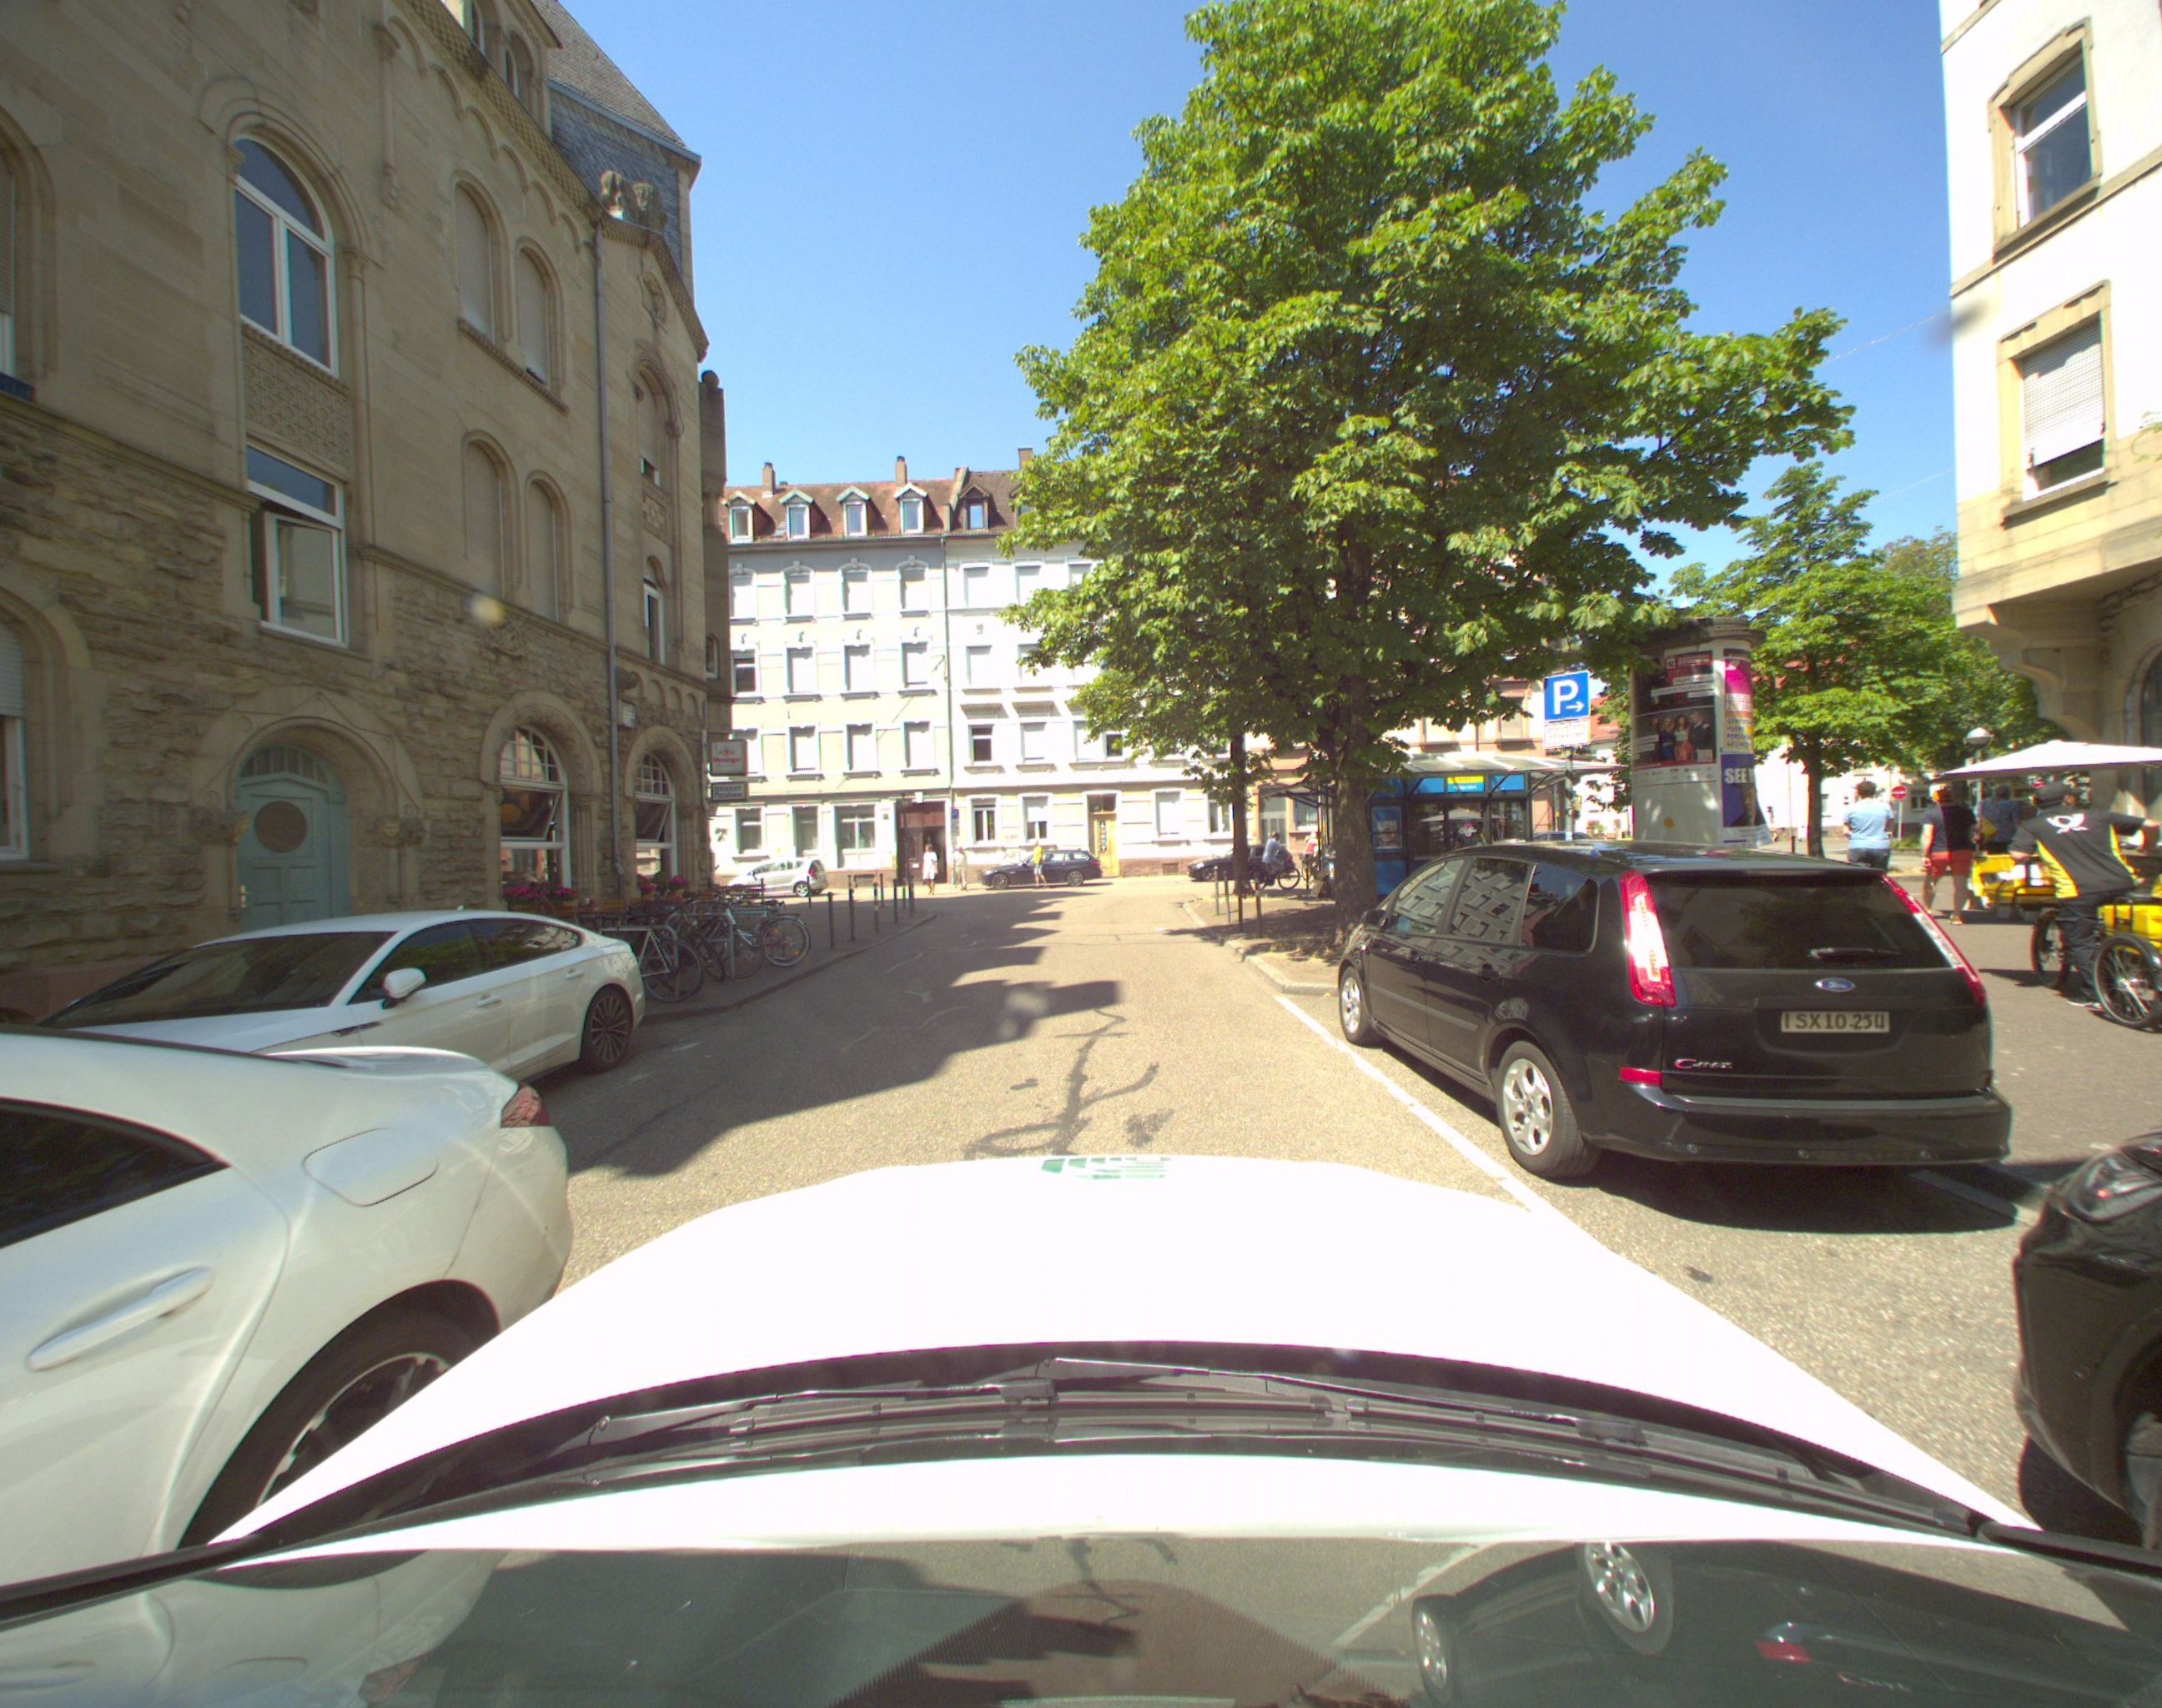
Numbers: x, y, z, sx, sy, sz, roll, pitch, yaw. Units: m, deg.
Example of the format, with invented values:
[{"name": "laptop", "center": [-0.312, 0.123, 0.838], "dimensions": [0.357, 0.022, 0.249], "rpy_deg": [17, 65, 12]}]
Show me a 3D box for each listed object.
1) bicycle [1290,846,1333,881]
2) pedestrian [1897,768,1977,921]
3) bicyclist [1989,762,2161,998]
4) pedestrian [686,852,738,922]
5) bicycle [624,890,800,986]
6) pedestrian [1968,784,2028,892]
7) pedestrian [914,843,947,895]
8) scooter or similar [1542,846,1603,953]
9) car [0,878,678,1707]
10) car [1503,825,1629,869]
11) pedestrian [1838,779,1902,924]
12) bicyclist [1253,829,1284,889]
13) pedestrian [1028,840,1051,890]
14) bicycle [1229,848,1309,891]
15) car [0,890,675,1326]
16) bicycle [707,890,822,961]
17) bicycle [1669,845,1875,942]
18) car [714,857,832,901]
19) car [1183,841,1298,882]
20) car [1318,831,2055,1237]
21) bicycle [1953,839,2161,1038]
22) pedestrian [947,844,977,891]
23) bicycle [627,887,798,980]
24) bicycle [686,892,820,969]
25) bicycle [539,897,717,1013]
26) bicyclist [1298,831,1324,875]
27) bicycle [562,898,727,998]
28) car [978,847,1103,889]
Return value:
[{"name": "bicycle", "center": [8.343, 0.318, 29.396], "dimensions": [0.645, 1.209, 2.457], "rpy_deg": [-1, 0, 37]}, {"name": "pedestrian", "center": [11.066, -0.125, 10.520], "dimensions": [0.887, 1.880, 0.594], "rpy_deg": [-2, 0, -39]}, {"name": "bicyclist", "center": [7.492, 0.187, 6.103], "dimensions": [0.671, 1.647, 0.666], "rpy_deg": [-3, 0, 27]}, {"name": "pedestrian", "center": [-9.250, 0.811, 20.447], "dimensions": [0.854, 1.672, 0.774], "rpy_deg": [-3, 0, 1]}, {"name": "bicycle", "center": [-4.577, 1.039, 10.170], "dimensions": [1.967, 1.129, 0.394], "rpy_deg": [1, 0, -3]}, {"name": "pedestrian", "center": [15.845, -0.275, 14.077], "dimensions": [0.753, 1.794, 0.576], "rpy_deg": [-3, 0, -37]}, {"name": "pedestrian", "center": [-5.578, 0.540, 30.196], "dimensions": [0.844, 1.889, 0.938], "rpy_deg": [-3, 0, 12]}, {"name": "scooter or similar", "center": [5.743, 0.501, 9.492], "dimensions": [0.437, 1.136, 1.193], "rpy_deg": [-3, 0, 38]}, {"name": "car", "center": [-2.267, 0.878, 0.356], "dimensions": [1.835, 1.460, 4.363], "rpy_deg": [-4, 0, 1]}, {"name": "car", "center": [19.425, -0.274, 32.750], "dimensions": [3.974, 1.506, 1.778], "rpy_deg": [-3, 0, 0]}, {"name": "pedestrian", "center": [10.541, -0.032, 10.898], "dimensions": [0.513, 1.868, 0.658], "rpy_deg": [-2, 0, 40]}, {"name": "bicyclist", "center": [5.570, 0.152, 24.243], "dimensions": [0.610, 1.760, 0.667], "rpy_deg": [0, 0, -23]}, {"name": "pedestrian", "center": [-1.599, 0.415, 31.448], "dimensions": [0.724, 1.853, 0.683], "rpy_deg": [-3, 0, -9]}, {"name": "bicycle", "center": [5.604, 0.444, 24.259], "dimensions": [2.445, 1.228, 0.648], "rpy_deg": [-1, 0, -25]}, {"name": "car", "center": [-4.566, 1.064, 5.158], "dimensions": [1.696, 1.352, 4.513], "rpy_deg": [-4, 0, -1]}, {"name": "bicycle", "center": [-4.625, 1.042, 11.951], "dimensions": [1.521, 1.008, 0.367], "rpy_deg": [0, 0, -3]}, {"name": "bicycle", "center": [8.300, 0.459, 9.832], "dimensions": [1.893, 1.039, 0.634], "rpy_deg": [-3, 0, 1]}, {"name": "car", "center": [-12.457, 0.988, 33.125], "dimensions": [4.034, 1.562, 1.806], "rpy_deg": [-3, 0, -1]}, {"name": "car", "center": [6.383, 0.278, 32.833], "dimensions": [4.279, 1.370, 1.808], "rpy_deg": [-3, 3, 1]}, {"name": "car", "center": [2.910, 0.675, 5.185], "dimensions": [1.657, 1.540, 4.178], "rpy_deg": [0, 0, 1]}, {"name": "bicycle", "center": [7.507, 0.502, 5.890], "dimensions": [0.786, 1.169, 2.594], "rpy_deg": [-3, 0, 28]}, {"name": "pedestrian", "center": [-4.773, 0.548, 32.653], "dimensions": [0.896, 1.814, 0.962], "rpy_deg": [-3, 0, 7]}, {"name": "bicycle", "center": [-4.764, 1.015, 10.603], "dimensions": [1.990, 1.129, 0.435], "rpy_deg": [-1, 0, -3]}, {"name": "bicycle", "center": [-4.620, 1.068, 11.517], "dimensions": [1.700, 1.045, 0.413], "rpy_deg": [0, 0, -3]}, {"name": "bicycle", "center": [-5.019, 1.111, 9.068], "dimensions": [1.699, 1.100, 0.292], "rpy_deg": [-5, 0, -3]}, {"name": "bicyclist", "center": [8.273, -0.041, 29.305], "dimensions": [0.664, 1.533, 0.613], "rpy_deg": [-3, 0, 38]}, {"name": "bicycle", "center": [-5.008, 1.066, 9.379], "dimensions": [1.698, 1.100, 0.292], "rpy_deg": [0, 0, -3]}, {"name": "car", "center": [-1.552, 0.545, 32.775], "dimensions": [4.842, 1.437, 2.000], "rpy_deg": [-3, 0, 1]}]
